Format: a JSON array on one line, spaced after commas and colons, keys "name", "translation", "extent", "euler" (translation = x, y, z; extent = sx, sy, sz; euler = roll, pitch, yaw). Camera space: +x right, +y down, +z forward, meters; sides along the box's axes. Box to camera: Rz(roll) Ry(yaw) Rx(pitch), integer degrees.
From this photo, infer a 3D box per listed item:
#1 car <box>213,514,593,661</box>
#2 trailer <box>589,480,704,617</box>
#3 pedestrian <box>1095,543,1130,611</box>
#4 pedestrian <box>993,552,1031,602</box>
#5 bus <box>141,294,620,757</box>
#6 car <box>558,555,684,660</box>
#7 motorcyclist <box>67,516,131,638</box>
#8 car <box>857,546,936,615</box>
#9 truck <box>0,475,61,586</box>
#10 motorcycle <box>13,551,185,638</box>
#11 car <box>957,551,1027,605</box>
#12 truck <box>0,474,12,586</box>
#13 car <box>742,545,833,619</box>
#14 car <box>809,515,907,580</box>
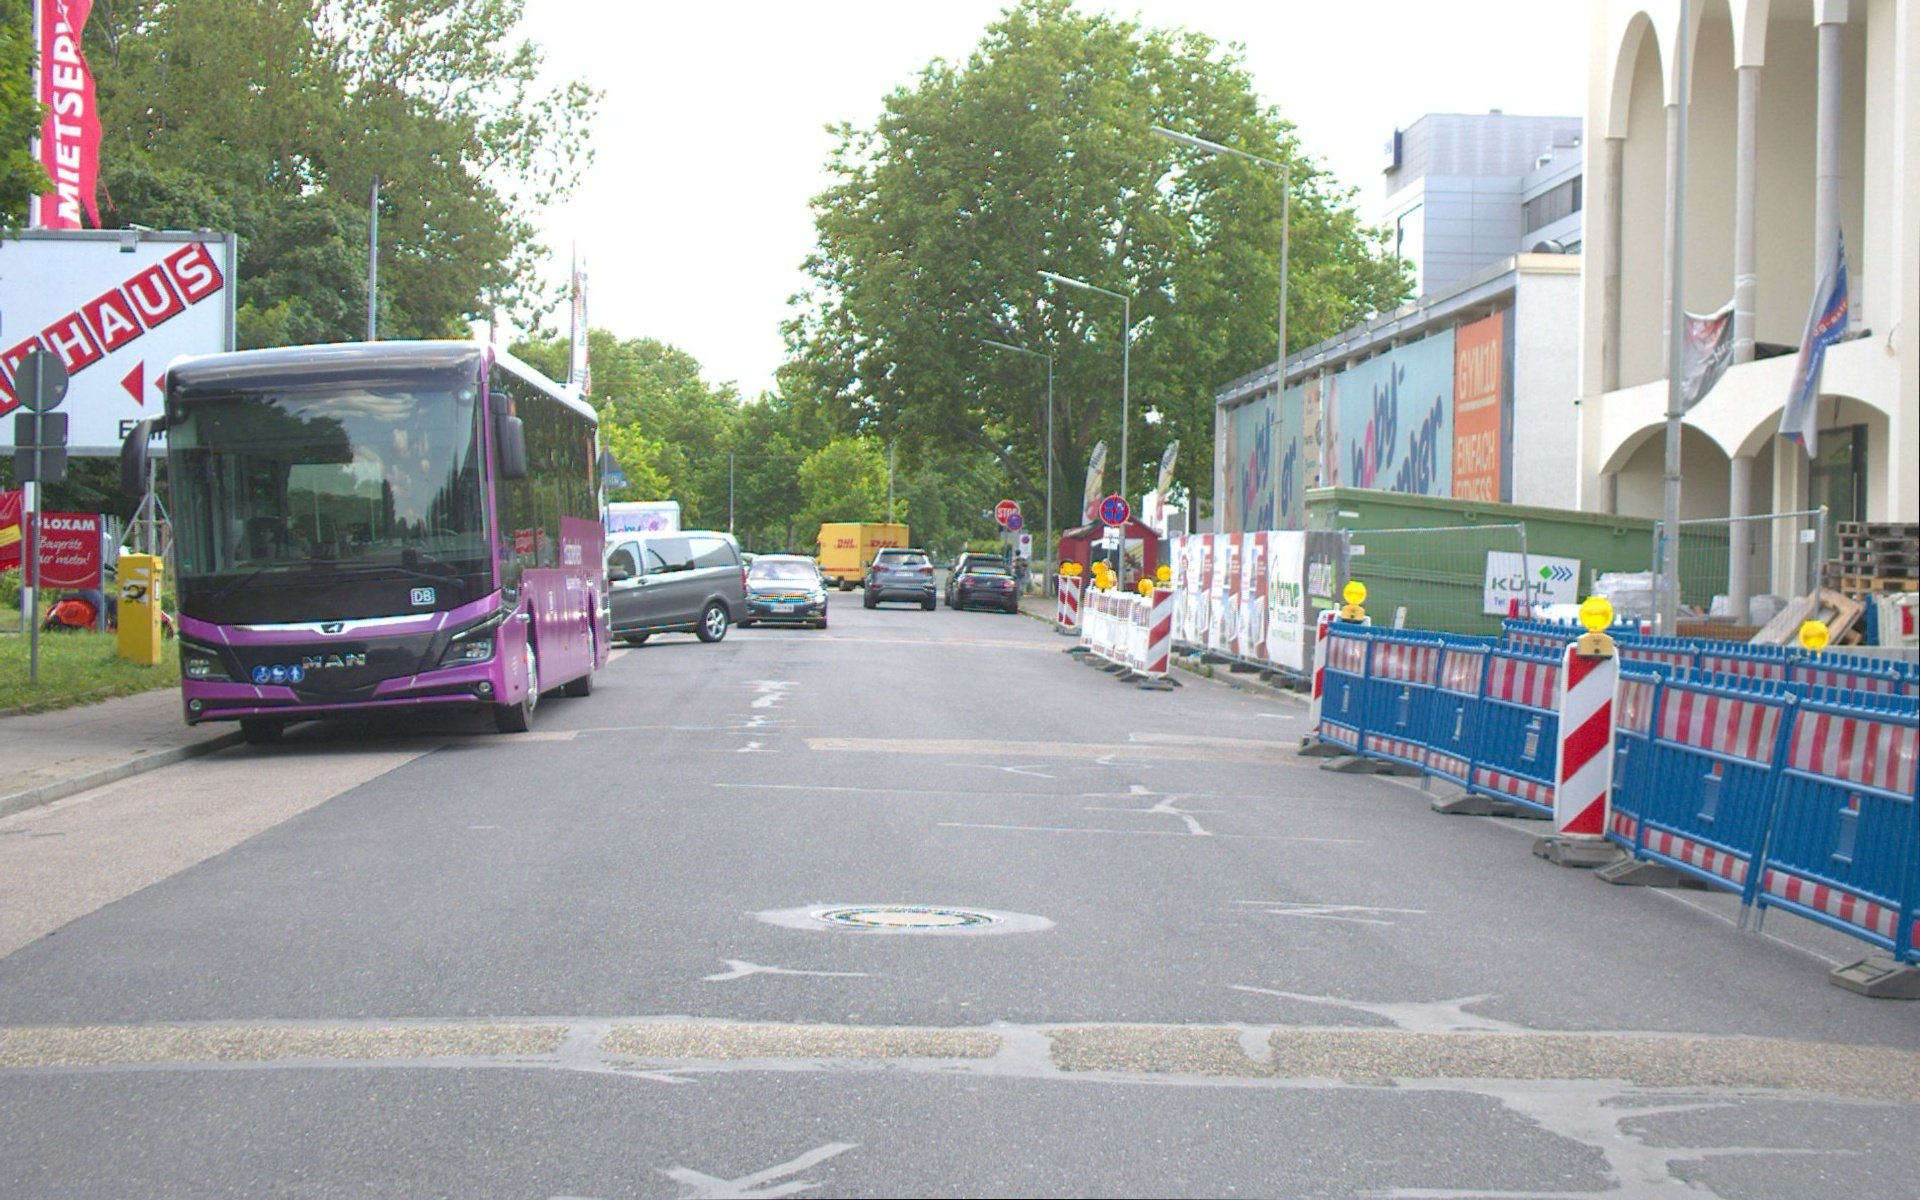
[{"name": "car", "translation": [-7.900, -0.196, 49.066], "extent": [5.001, 1.942, 1.992], "euler": [1, 1, 4]}, {"name": "trailer", "translation": [-6.588, -1.097, 72.629], "extent": [2.139, 2.773, 4.704], "euler": [-1, 1, -2]}, {"name": "pedestrian", "translation": [3.482, -0.527, 78.600], "extent": [0.681, 1.528, 1.130], "euler": [1, 0, -2]}, {"name": "pedestrian", "translation": [1.942, -0.877, 128.633], "extent": [1.000, 1.843, 1.230], "euler": [1, 0, -20]}, {"name": "bus", "translation": [-5.060, -0.672, 32.767], "extent": [2.663, 3.411, 13.220], "euler": [-2, 1, -2]}, {"name": "car", "translation": [-5.626, 0.094, 57.379], "extent": [1.868, 1.624, 4.128], "euler": [1, 1, -3]}, {"name": "motorcyclist", "translation": [-12.325, -0.337, 49.254], "extent": [0.674, 1.717, 0.994], "euler": [1, 1, -1]}, {"name": "car", "translation": [-1.793, -0.558, 95.641], "extent": [1.961, 1.809, 4.276], "euler": [1, 1, -4]}, {"name": "truck", "translation": [-24.820, -1.725, 83.289], "extent": [5.547, 2.585, 1.779], "euler": [1, -1, -1]}, {"name": "motorcycle", "translation": [-12.328, -0.081, 49.267], "extent": [2.221, 1.209, 0.994], "euler": [1, 1, -1]}, {"name": "car", "translation": [0.891, -0.650, 98.557], "extent": [1.808, 1.386, 4.588], "euler": [4, 1, -1]}, {"name": "truck", "translation": [-25.212, -1.710, 80.002], "extent": [5.754, 2.585, 1.815], "euler": [1, -1, 0]}, {"name": "car", "translation": [-3.500, -0.385, 70.362], "extent": [1.796, 1.454, 4.385], "euler": [0, 1, -2]}, {"name": "car", "translation": [-4.244, -2.167, 141.492], "extent": [2.198, 2.569, 6.406], "euler": [1, 1, -19]}]
